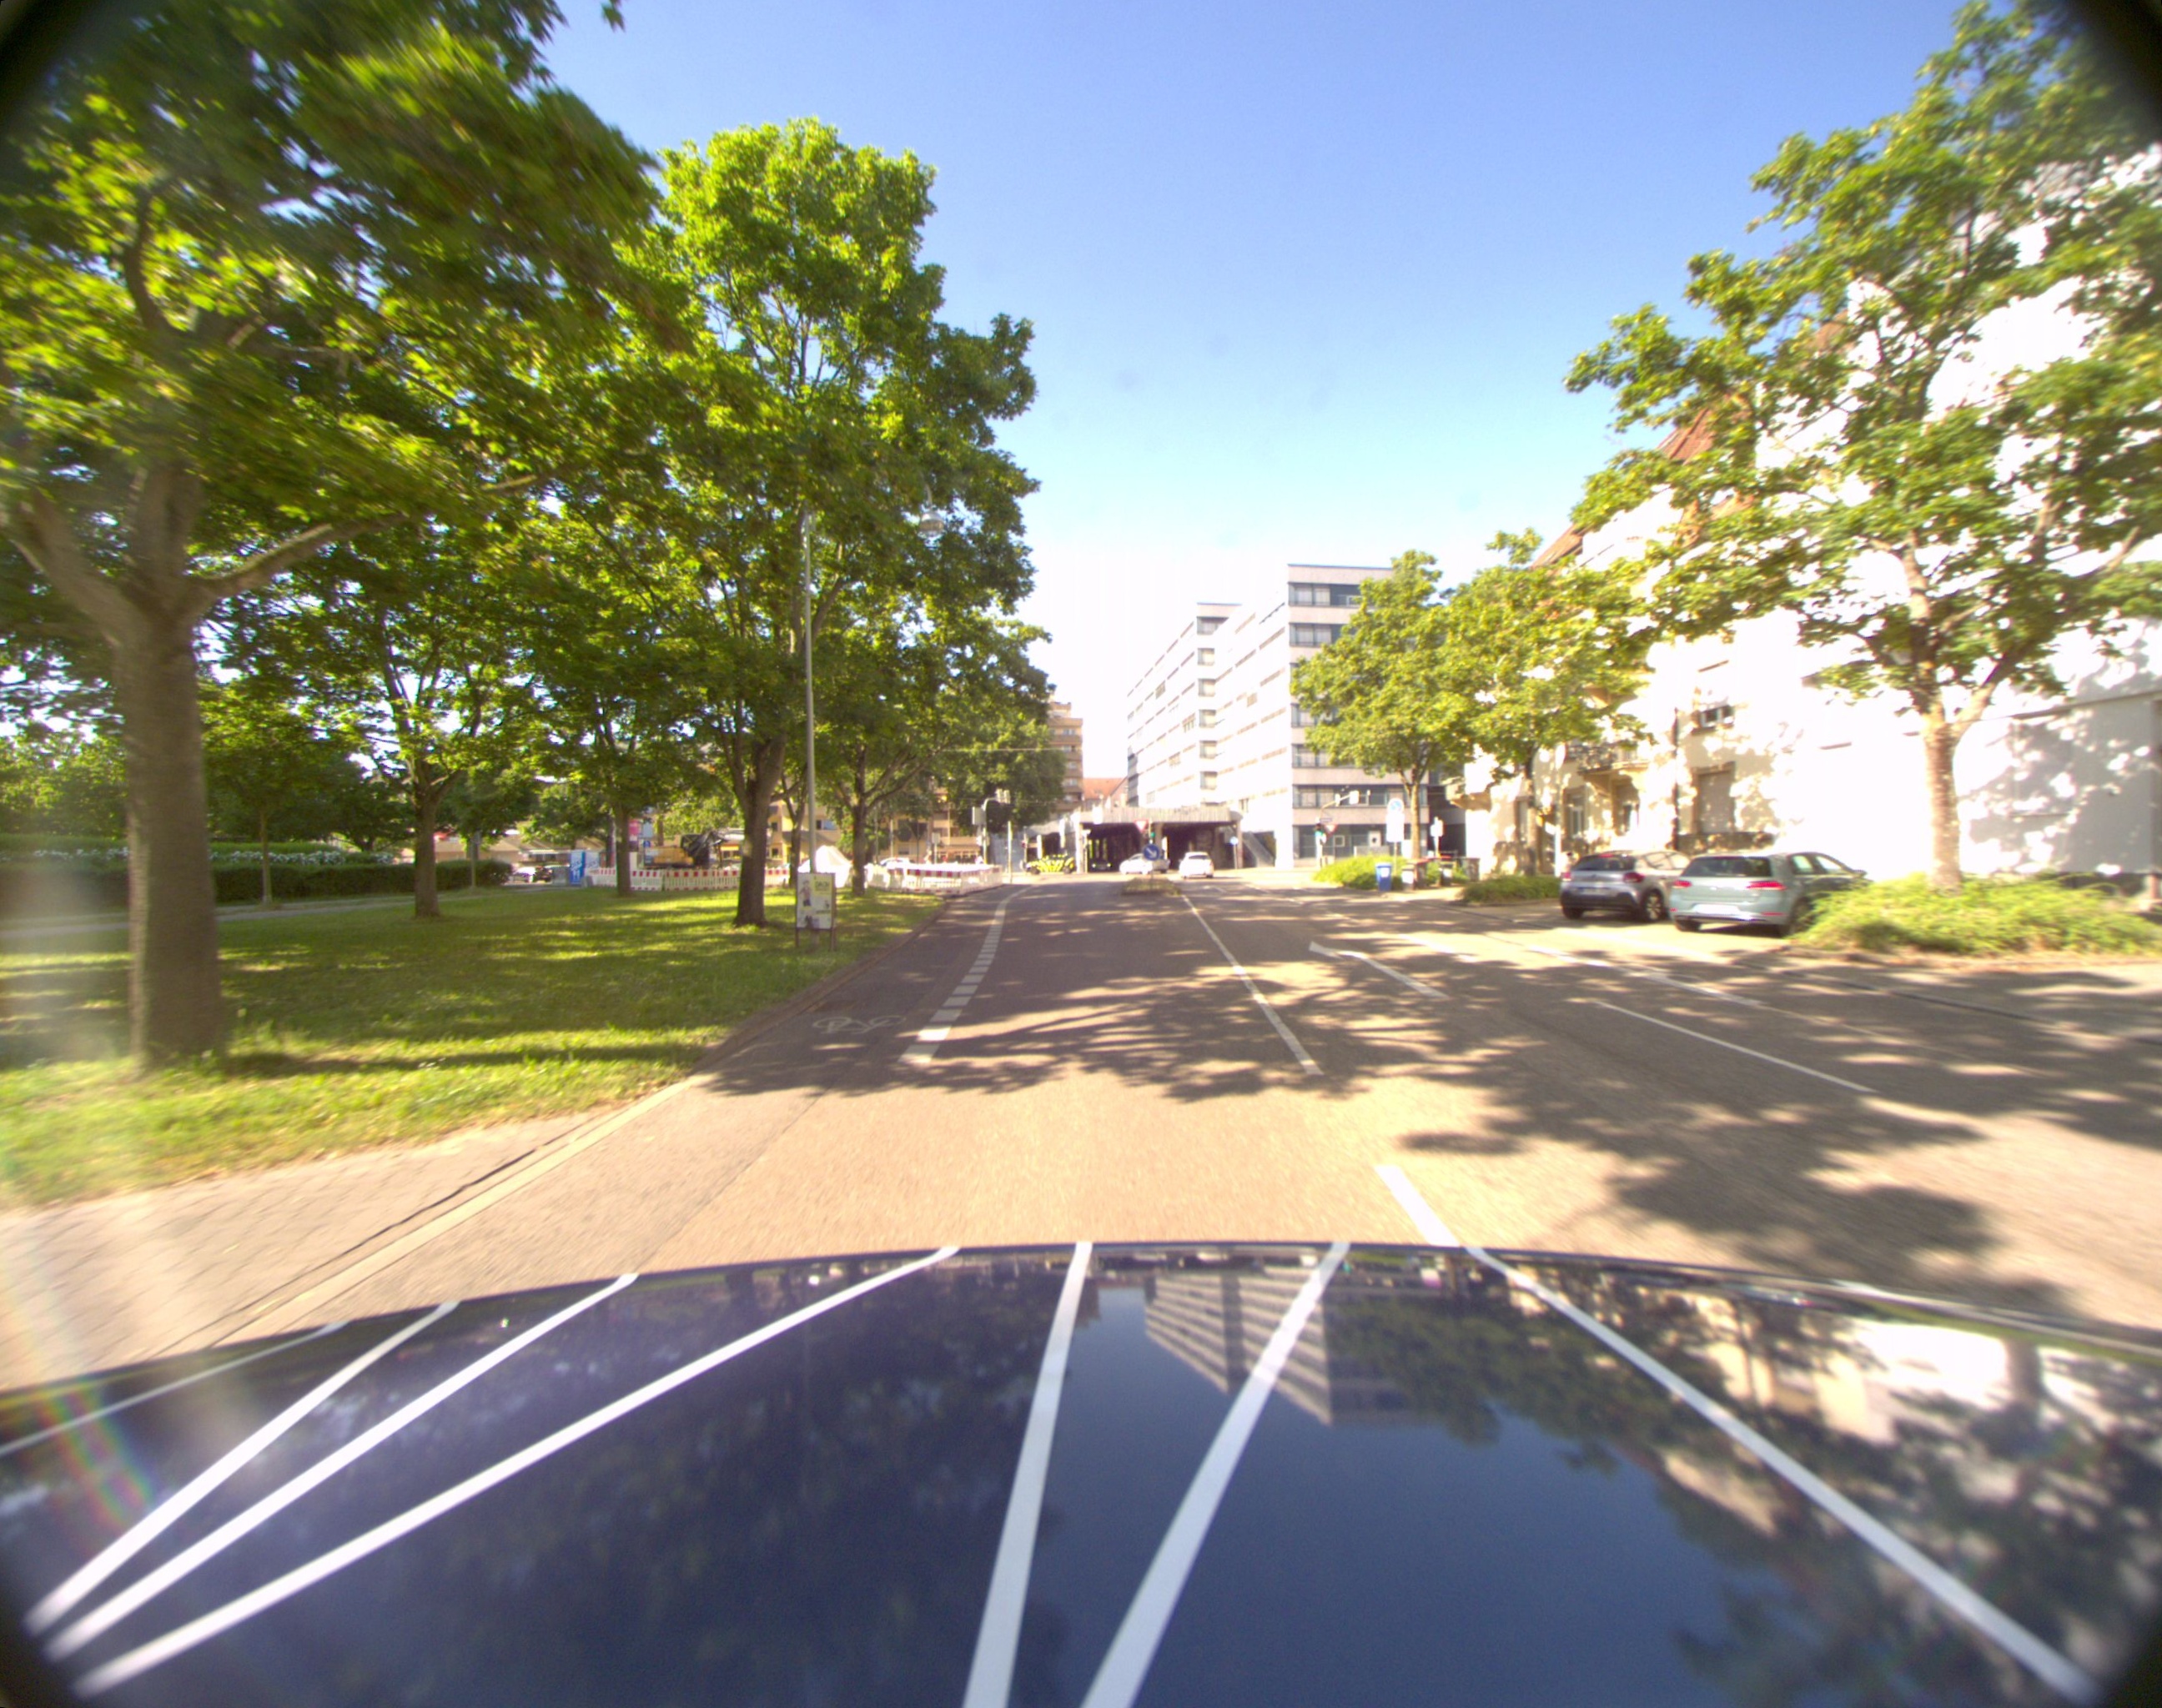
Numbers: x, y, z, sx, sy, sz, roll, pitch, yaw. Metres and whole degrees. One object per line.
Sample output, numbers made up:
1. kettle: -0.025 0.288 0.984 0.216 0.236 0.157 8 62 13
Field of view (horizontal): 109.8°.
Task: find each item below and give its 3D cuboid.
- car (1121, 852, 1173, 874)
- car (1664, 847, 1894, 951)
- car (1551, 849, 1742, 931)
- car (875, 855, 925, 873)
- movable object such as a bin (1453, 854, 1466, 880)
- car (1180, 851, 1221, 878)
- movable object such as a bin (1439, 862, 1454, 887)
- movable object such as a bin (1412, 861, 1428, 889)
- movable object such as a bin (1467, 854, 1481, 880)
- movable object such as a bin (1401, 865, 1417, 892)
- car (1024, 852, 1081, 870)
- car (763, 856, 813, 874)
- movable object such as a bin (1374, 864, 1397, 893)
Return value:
1. car: 4.654 0.612 54.424 1.932 1.545 4.061 -1 1 -25
2. car: 12.388 0.696 13.455 4.005 1.456 1.807 -3 1 -29
3. car: 12.343 0.698 16.552 4.005 1.456 1.807 -3 1 -29
4. car: -15.845 0.896 66.707 3.749 1.545 1.932 -1 1 14
5. movable object such as a bin: 15.817 0.531 31.736 0.476 1.055 0.551 0 1 30
6. car: 6.857 0.594 44.067 1.928 1.443 3.757 -1 1 2
7. movable object such as a bin: 14.116 0.801 29.340 0.476 0.938 0.543 0 1 30
8. movable object such as a bin: 12.820 0.795 28.716 0.476 1.035 0.543 -2 1 30
9. movable object such as a bin: 16.281 0.530 31.466 0.476 1.055 0.551 0 1 30
10. movable object such as a bin: 12.130 0.914 28.099 0.476 0.954 0.543 -2 1 30
11. car: -2.240 0.570 61.318 4.315 1.398 1.931 -1 1 7
12. car: -26.693 0.981 69.313 3.749 1.545 1.932 -1 1 14
13. movable object such as a bin: 11.453 0.902 28.559 0.674 1.067 0.804 0 1 30
